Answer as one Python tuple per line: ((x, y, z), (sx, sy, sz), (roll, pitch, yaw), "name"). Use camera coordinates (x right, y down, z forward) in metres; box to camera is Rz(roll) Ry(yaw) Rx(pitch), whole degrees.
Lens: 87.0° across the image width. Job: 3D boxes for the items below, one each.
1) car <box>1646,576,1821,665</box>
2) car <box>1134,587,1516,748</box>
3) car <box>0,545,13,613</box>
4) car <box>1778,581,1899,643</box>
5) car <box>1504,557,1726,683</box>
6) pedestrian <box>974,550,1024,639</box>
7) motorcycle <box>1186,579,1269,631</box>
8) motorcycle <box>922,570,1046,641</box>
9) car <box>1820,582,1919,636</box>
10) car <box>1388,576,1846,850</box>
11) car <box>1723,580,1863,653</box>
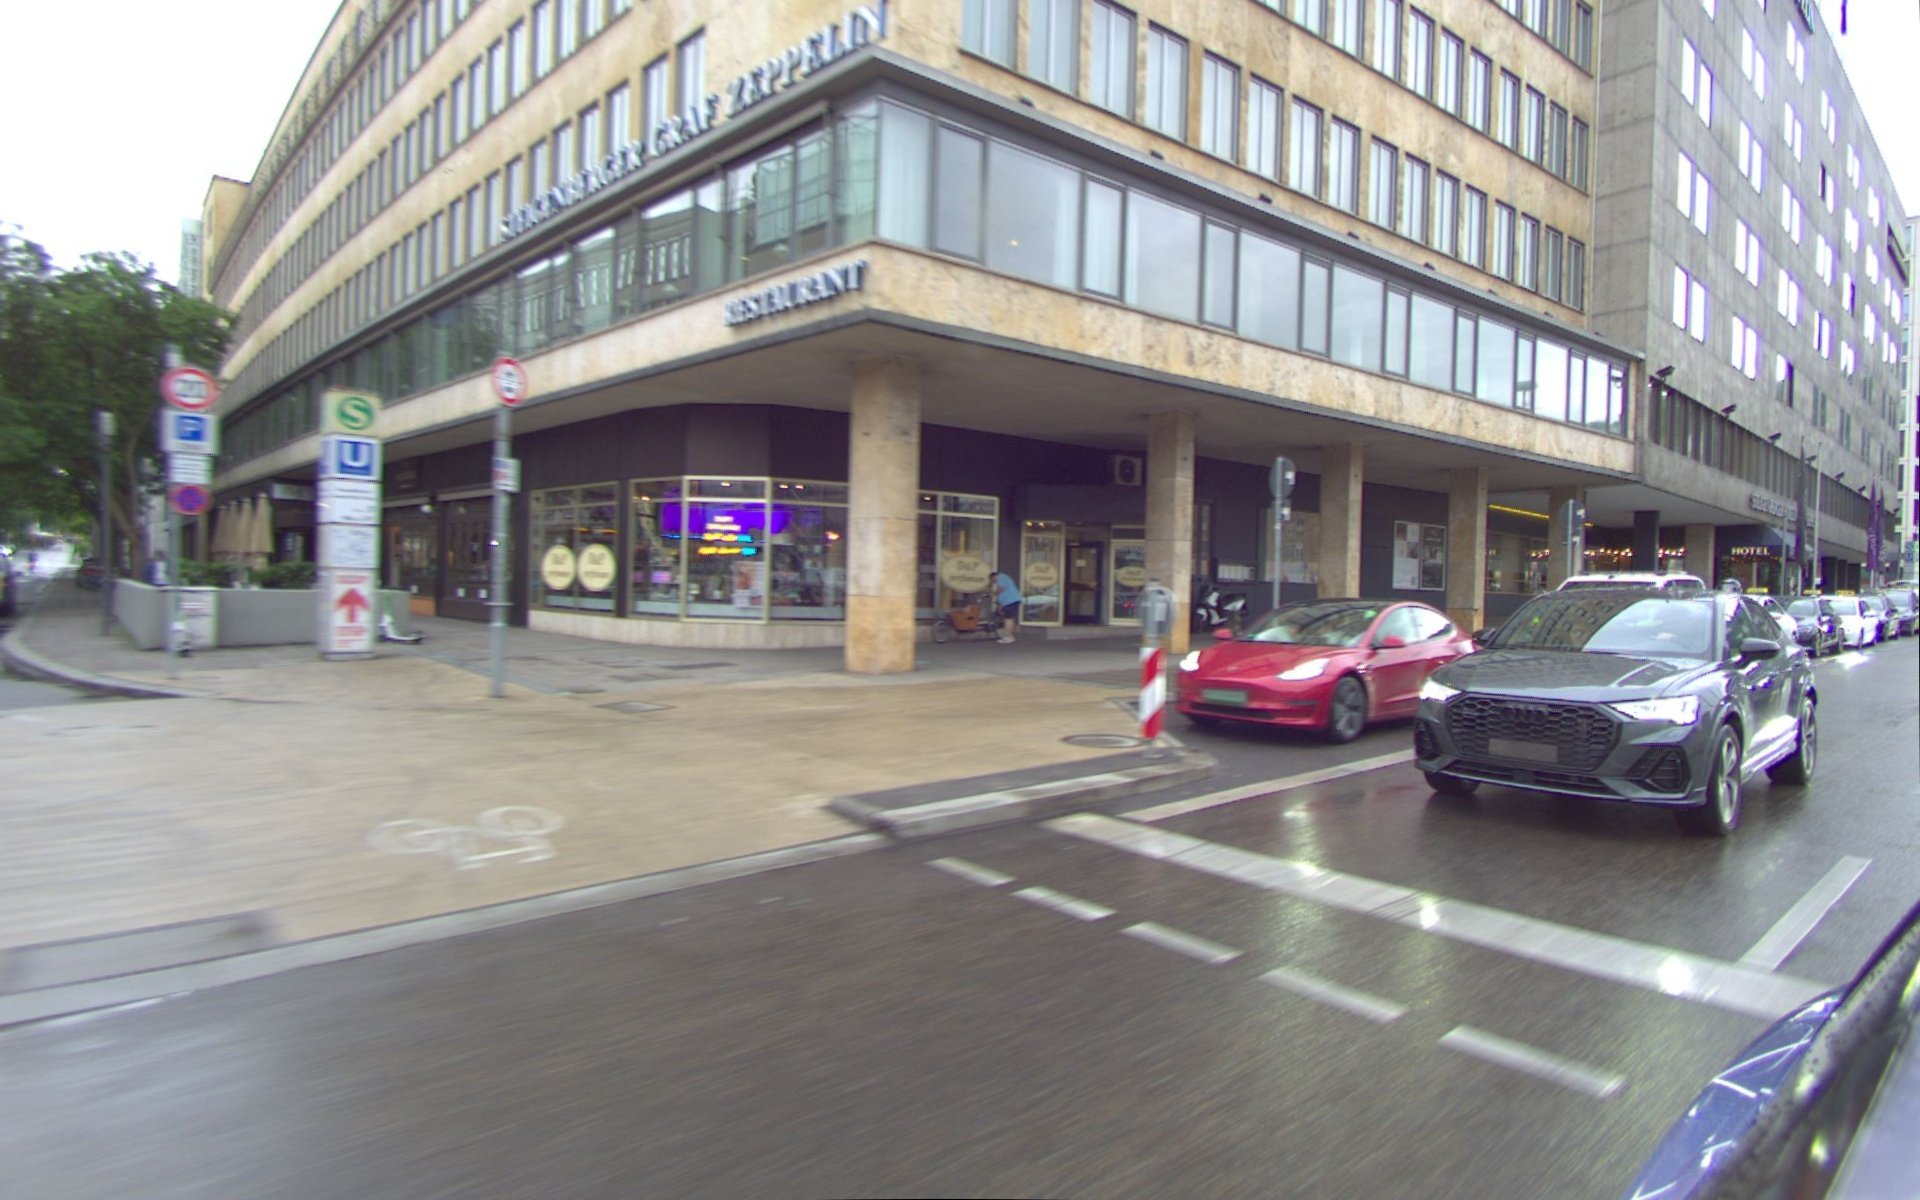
((16.575, 0.367, 21.590), (5.045, 1.675, 1.997), (0, 1, -41), "car")
((4.222, 0.591, 11.387), (4.404, 1.431, 2.192), (0, 1, -41), "car")
((-29.805, -0.652, 30.283), (1.965, 1.950, 5.157), (1, 1, -41), "car")
((25.495, 0.302, 29.317), (4.791, 1.629, 1.997), (0, 1, -41), "car")
((11.570, 0.278, 17.731), (4.910, 1.908, 1.997), (0, 1, -41), "car")
((0.824, -0.135, 21.937), (0.982, 1.870, 1.110), (1, 1, -1), "pedestrian")
((6.737, 0.102, 25.382), (2.492, 1.246, 0.730), (0, 1, -41), "motorcycle")
((0.564, 0.105, 22.237), (2.801, 1.471, 0.963), (0, 1, -41), "motorcycle")
((29.979, 0.243, 33.190), (4.832, 1.635, 1.997), (0, 1, -41), "car")
((5.137, 0.607, 7.696), (4.091, 1.527, 1.875), (0, 1, -41), "car")
((21.001, 0.360, 25.452), (4.480, 1.657, 1.997), (0, 1, -41), "car")
